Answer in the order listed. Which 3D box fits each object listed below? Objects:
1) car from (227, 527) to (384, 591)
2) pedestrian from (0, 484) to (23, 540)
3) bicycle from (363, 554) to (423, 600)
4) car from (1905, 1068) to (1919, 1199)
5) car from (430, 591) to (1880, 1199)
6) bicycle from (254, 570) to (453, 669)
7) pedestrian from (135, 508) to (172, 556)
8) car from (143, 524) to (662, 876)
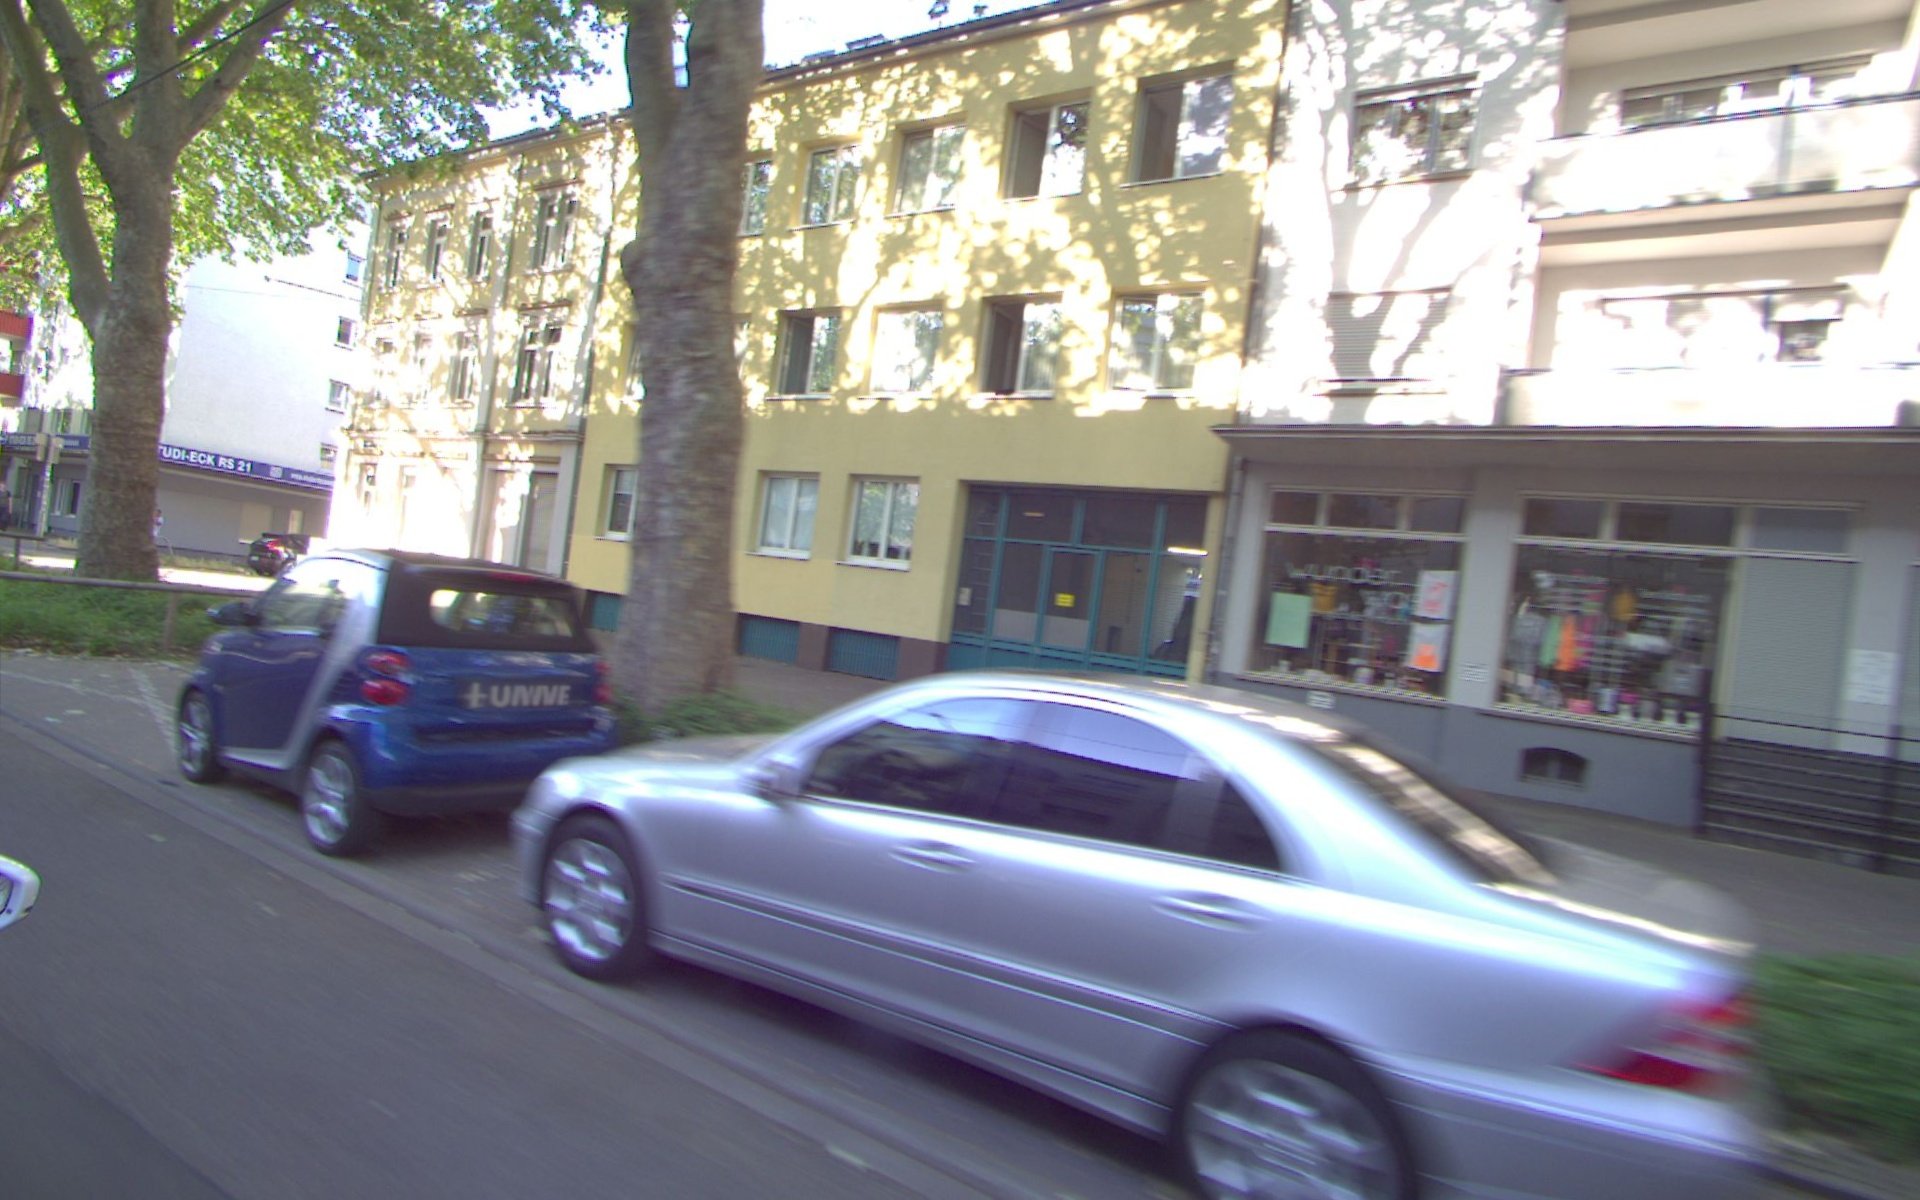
[{"bbox_3d":[-23.275,-1.419,35.922,1.965,1.611,4.143,7,-2,28],"label":"car"},{"bbox_3d":[-33.871,-3.136,35.465,1.168,1.889,0.768,7,0,29],"label":"pedestrian"},{"bbox_3d":[-16.245,-0.662,28.822,1.891,1.118,0.583,7,1,32],"label":"bicycle"},{"bbox_3d":[4.633,1.334,1.191,4.702,1.623,1.860,6,0,31],"label":"car"},{"bbox_3d":[0.238,0.948,3.931,4.524,1.453,1.820,6,0,29],"label":"car"},{"bbox_3d":[-7.238,0.246,12.089,1.948,1.019,0.507,5,1,-32],"label":"bicycle"},{"bbox_3d":[-30.058,-2.532,37.481,0.655,1.664,0.747,7,-1,34],"label":"pedestrian"},{"bbox_3d":[-3.457,0.463,6.154,2.864,1.537,1.564,6,0,35],"label":"car"}]
